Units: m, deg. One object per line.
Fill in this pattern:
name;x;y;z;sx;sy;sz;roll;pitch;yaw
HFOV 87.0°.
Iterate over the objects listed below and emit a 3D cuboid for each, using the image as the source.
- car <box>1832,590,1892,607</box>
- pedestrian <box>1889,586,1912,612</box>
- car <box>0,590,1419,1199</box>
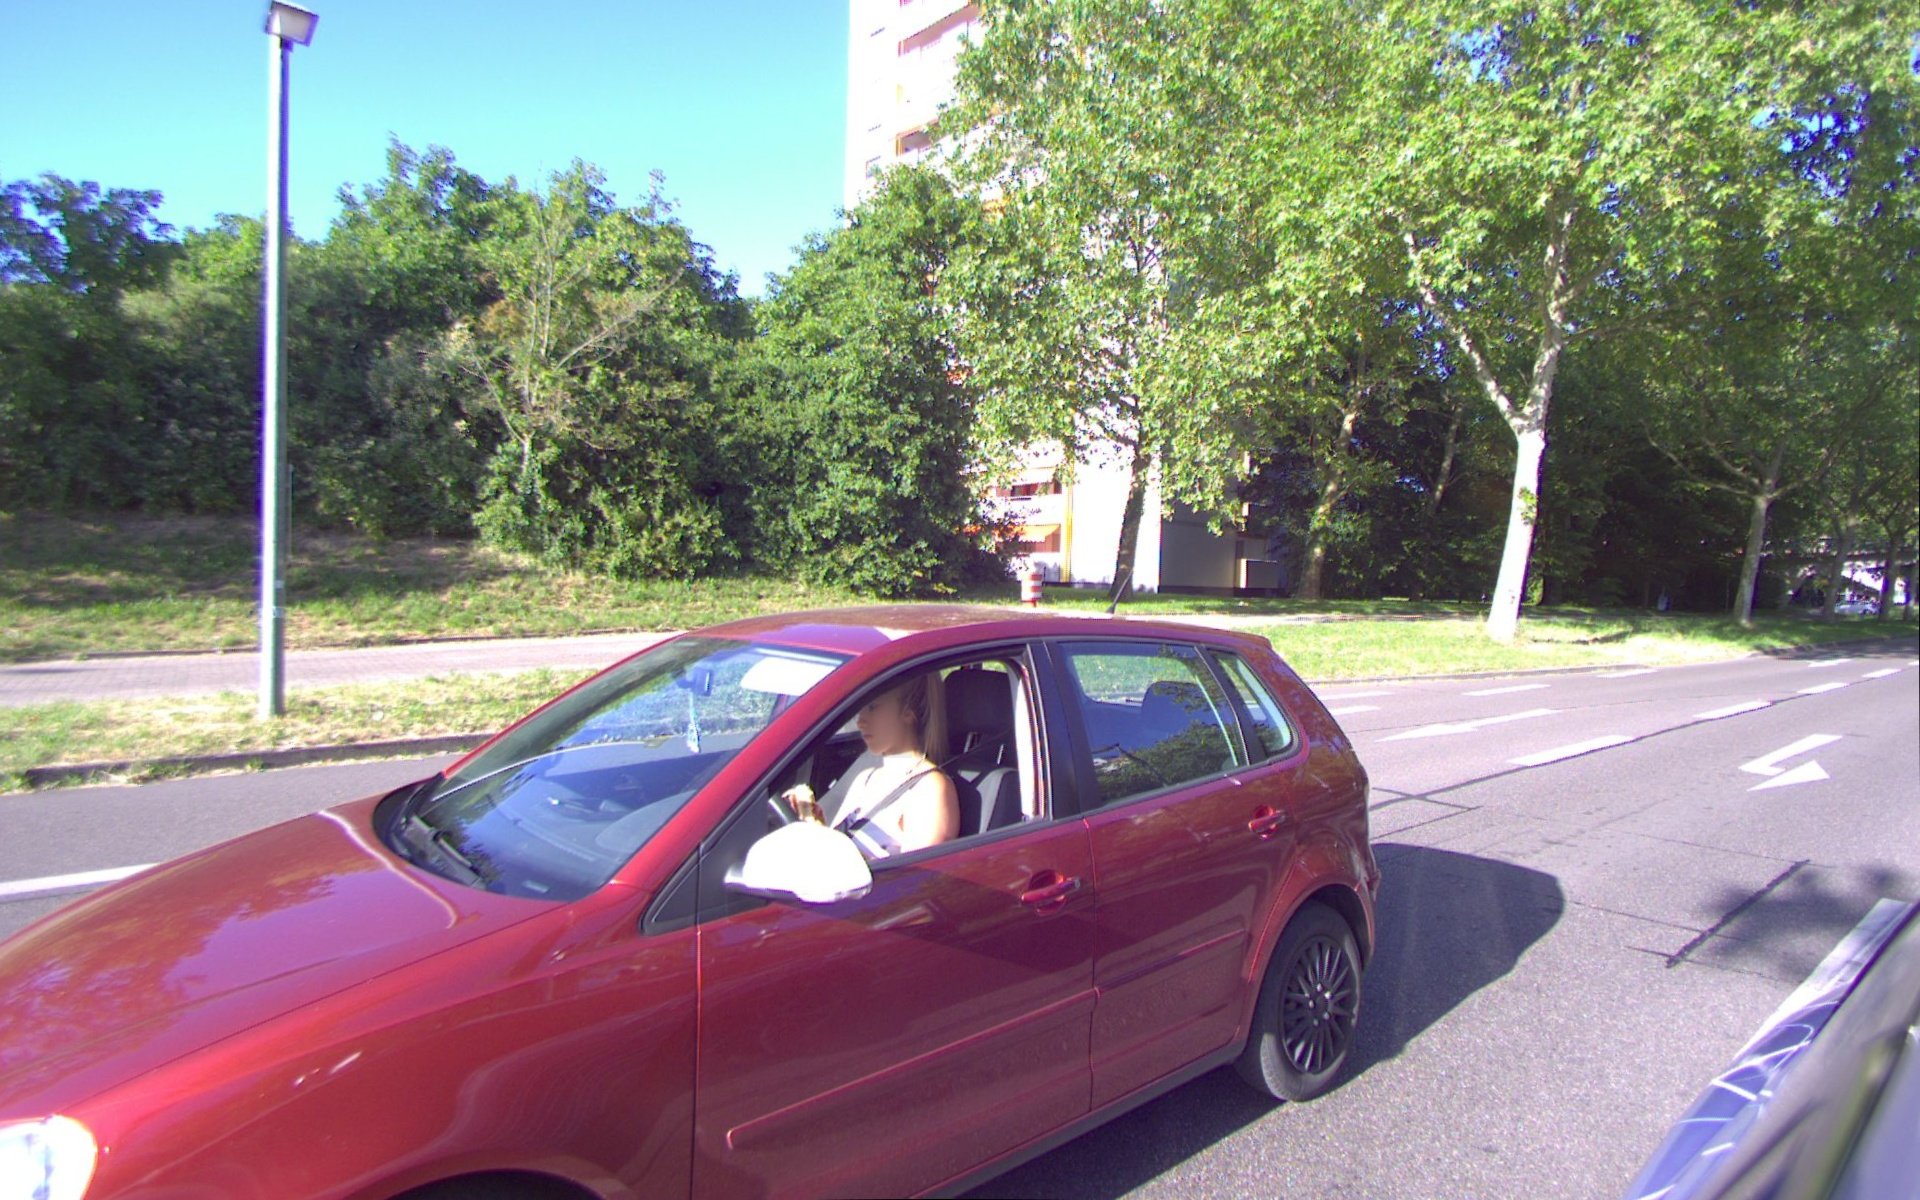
car;81.261;-0.101;91.192;3.983;1.493;1.772;0;0;42
pedestrian;75.419;-0.061;81.177;0.943;2.039;0.920;0;0;-5
car;-0.431;0.711;2.782;3.694;1.456;1.645;-1;1;-40
